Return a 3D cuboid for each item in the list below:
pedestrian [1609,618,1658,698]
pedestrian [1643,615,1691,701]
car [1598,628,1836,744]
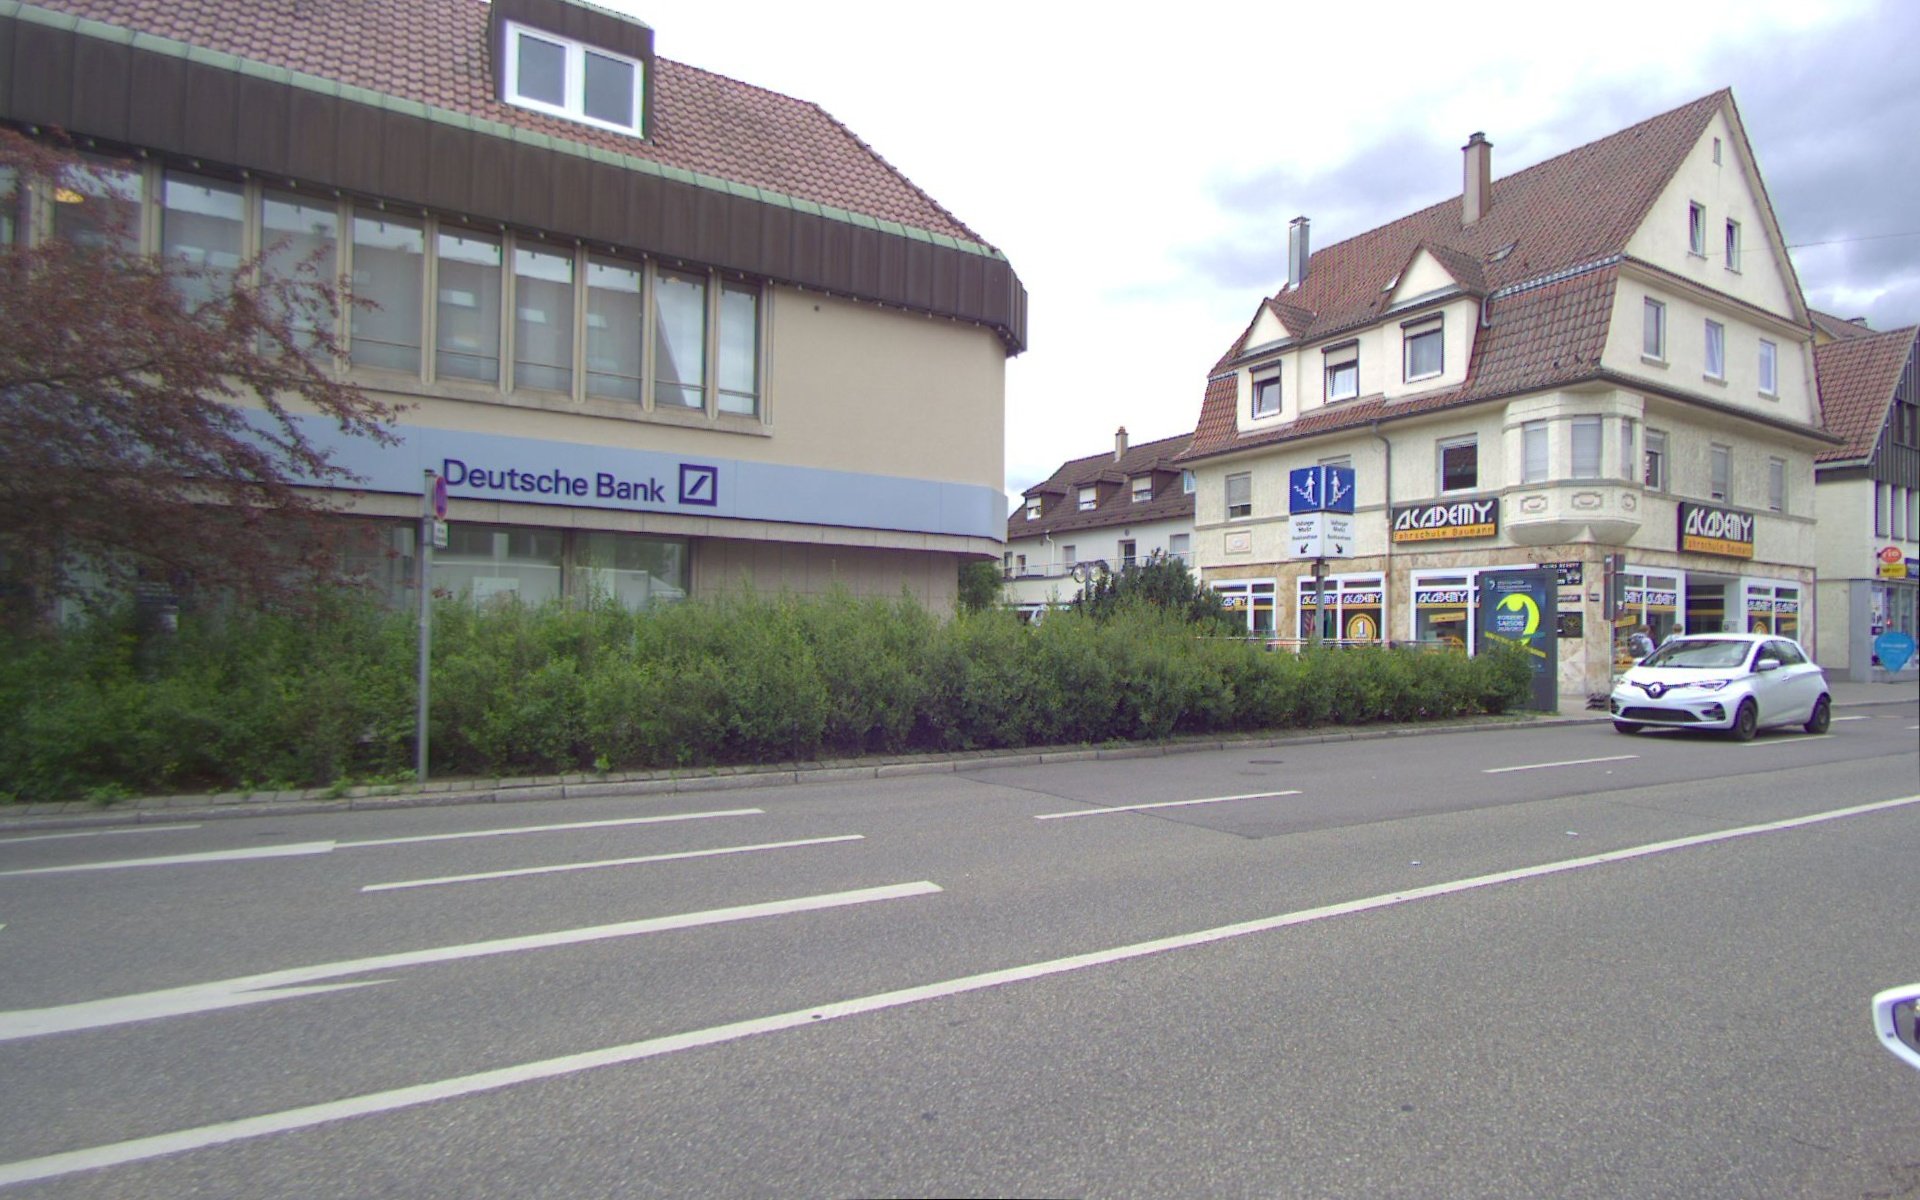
[{"bbox_3d":[15.198,1.297,22.667,0.673,1.784,0.684,1,-2,-30],"label":"pedestrian"},{"bbox_3d":[15.483,1.265,21.996,0.673,1.848,0.630,1,-2,-30],"label":"pedestrian"},{"bbox_3d":[11.763,1.261,15.562,3.882,1.588,1.632,2,-2,-31],"label":"car"}]
